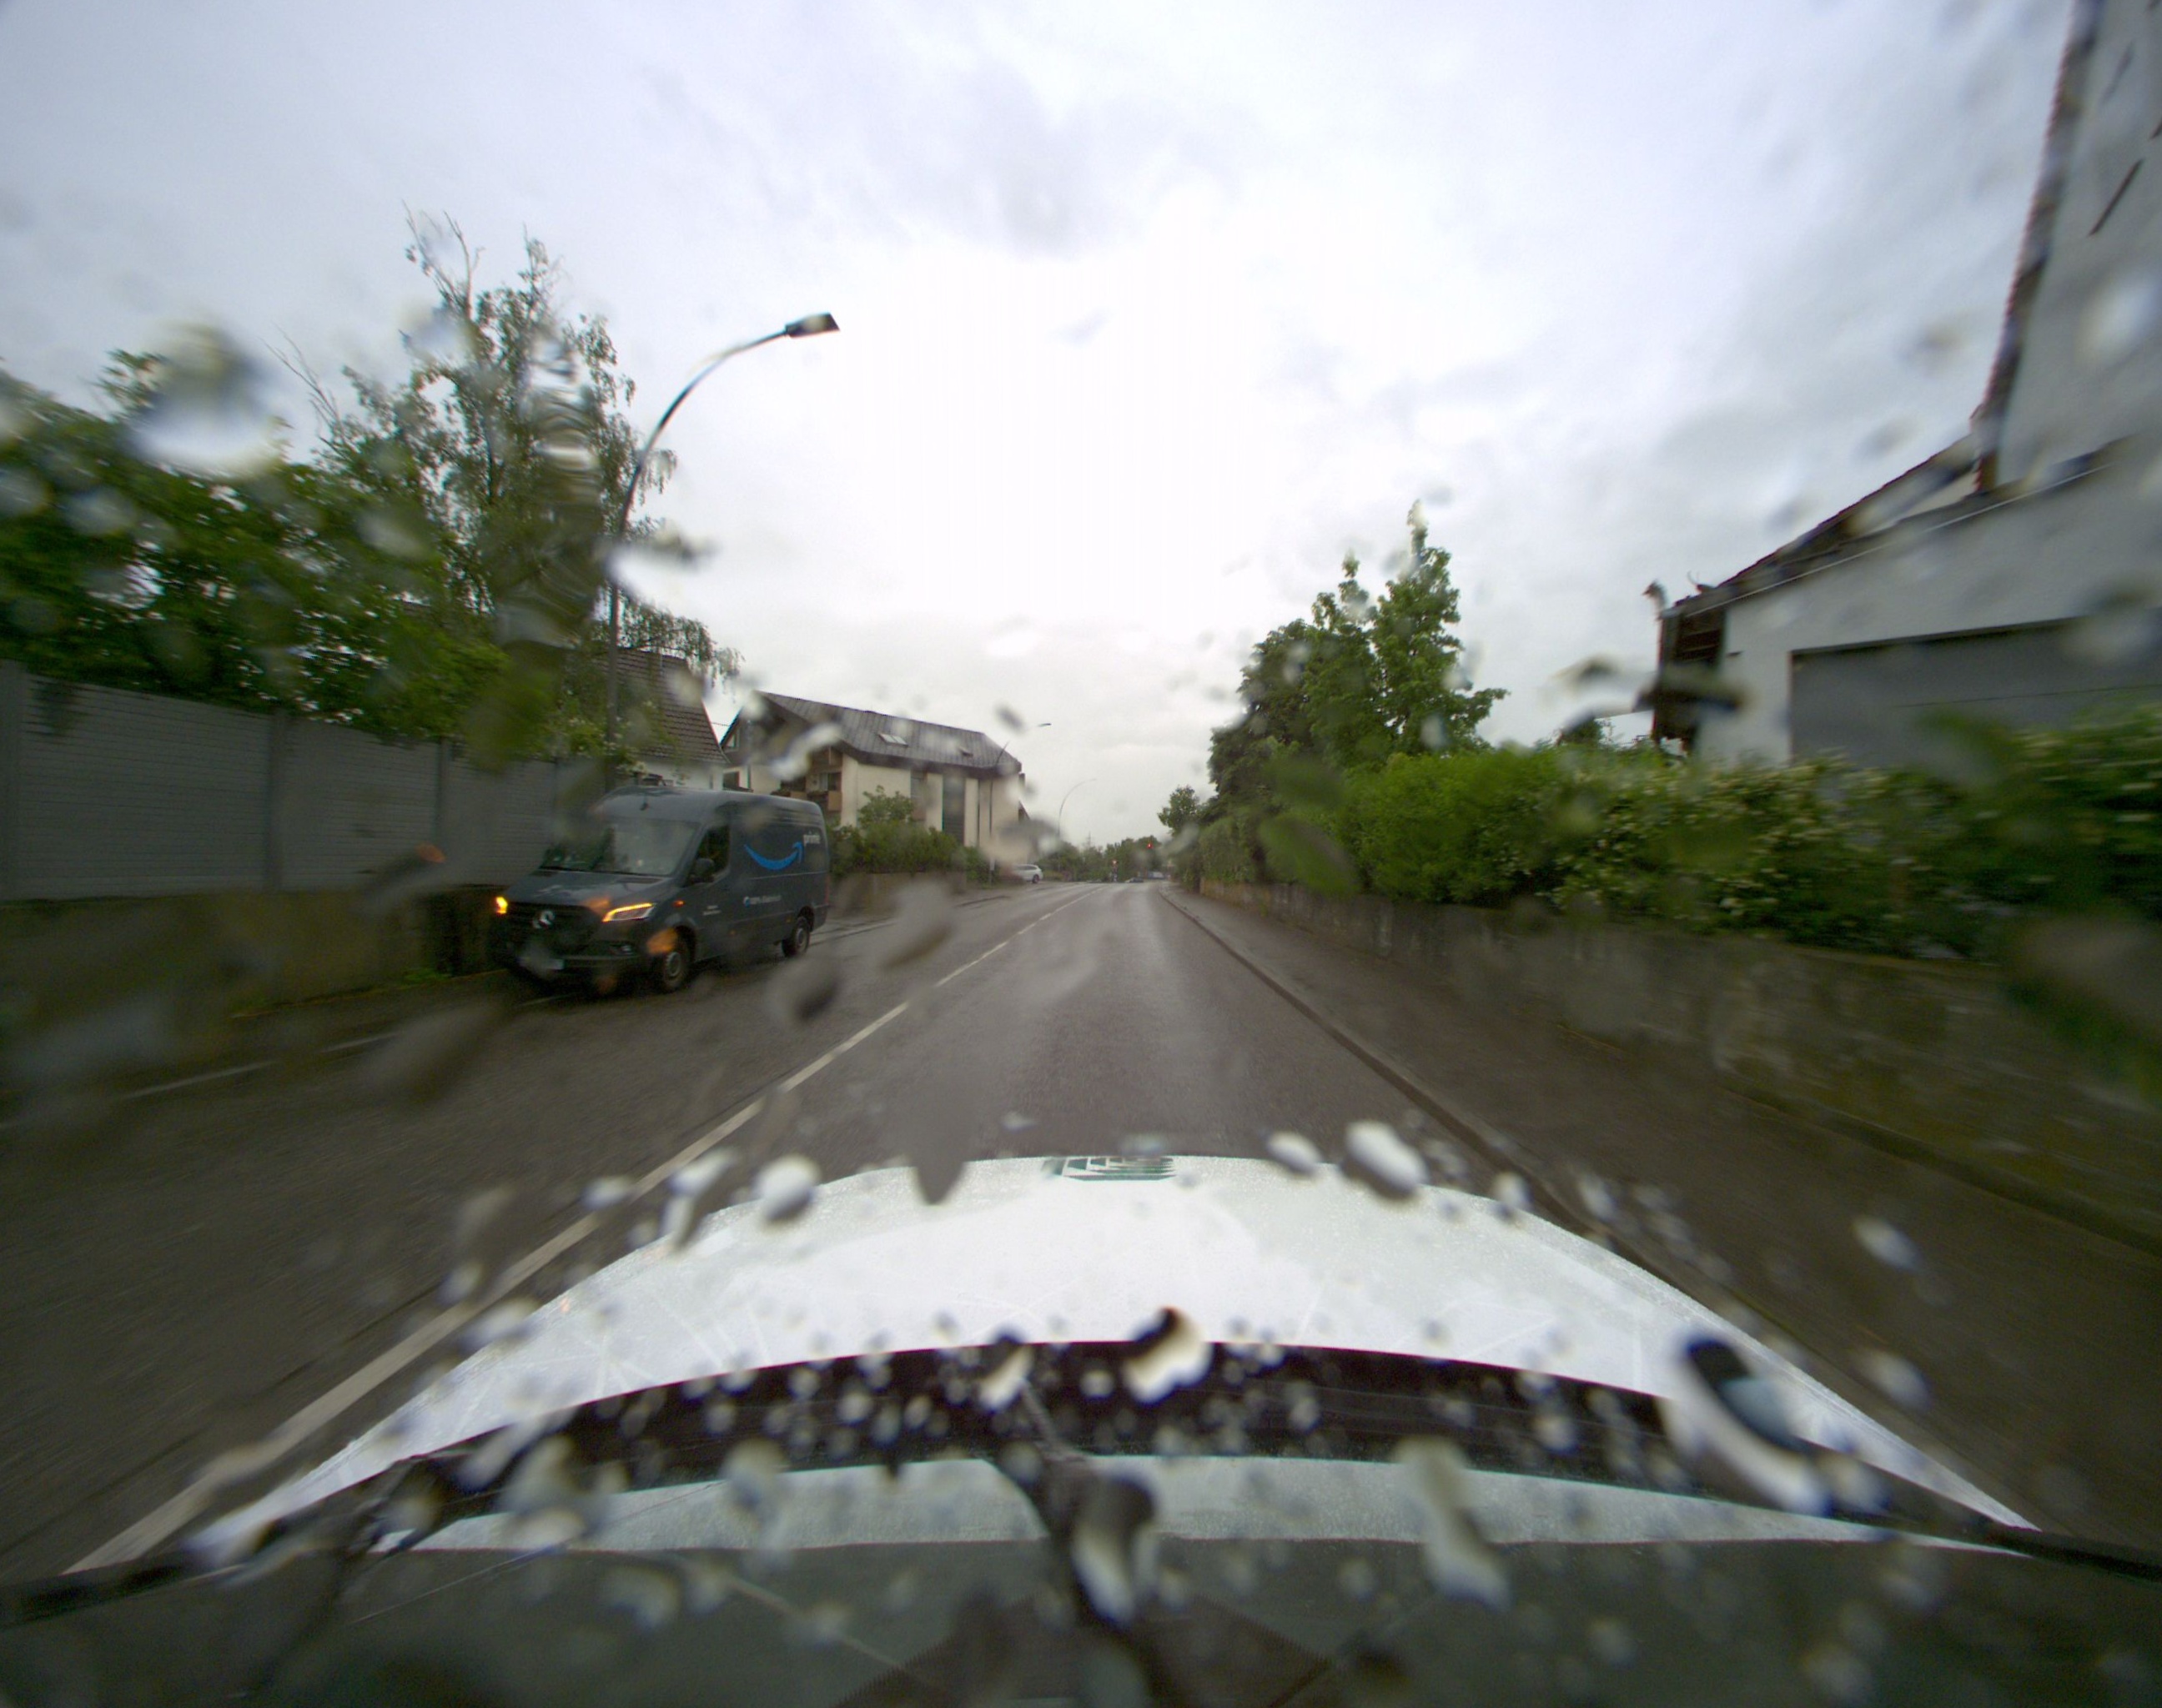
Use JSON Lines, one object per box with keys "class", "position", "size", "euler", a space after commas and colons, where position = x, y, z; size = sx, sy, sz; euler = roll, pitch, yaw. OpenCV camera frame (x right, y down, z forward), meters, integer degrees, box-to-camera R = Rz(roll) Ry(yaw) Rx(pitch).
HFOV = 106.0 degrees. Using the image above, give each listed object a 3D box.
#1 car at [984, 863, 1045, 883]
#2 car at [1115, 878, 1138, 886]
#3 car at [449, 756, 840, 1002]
{"class": "car", "position": [-5.204, 1.500, 64.090], "size": [1.883, 1.477, 4.912], "euler": [1, 0, 38]}
{"class": "car", "position": [8.647, 5.330, 153.717], "size": [3.992, 1.524, 1.802], "euler": [1, -2, -14]}
{"class": "car", "position": [-5.697, 0.286, 11.932], "size": [2.085, 2.649, 5.925], "euler": [1, 0, 4]}
